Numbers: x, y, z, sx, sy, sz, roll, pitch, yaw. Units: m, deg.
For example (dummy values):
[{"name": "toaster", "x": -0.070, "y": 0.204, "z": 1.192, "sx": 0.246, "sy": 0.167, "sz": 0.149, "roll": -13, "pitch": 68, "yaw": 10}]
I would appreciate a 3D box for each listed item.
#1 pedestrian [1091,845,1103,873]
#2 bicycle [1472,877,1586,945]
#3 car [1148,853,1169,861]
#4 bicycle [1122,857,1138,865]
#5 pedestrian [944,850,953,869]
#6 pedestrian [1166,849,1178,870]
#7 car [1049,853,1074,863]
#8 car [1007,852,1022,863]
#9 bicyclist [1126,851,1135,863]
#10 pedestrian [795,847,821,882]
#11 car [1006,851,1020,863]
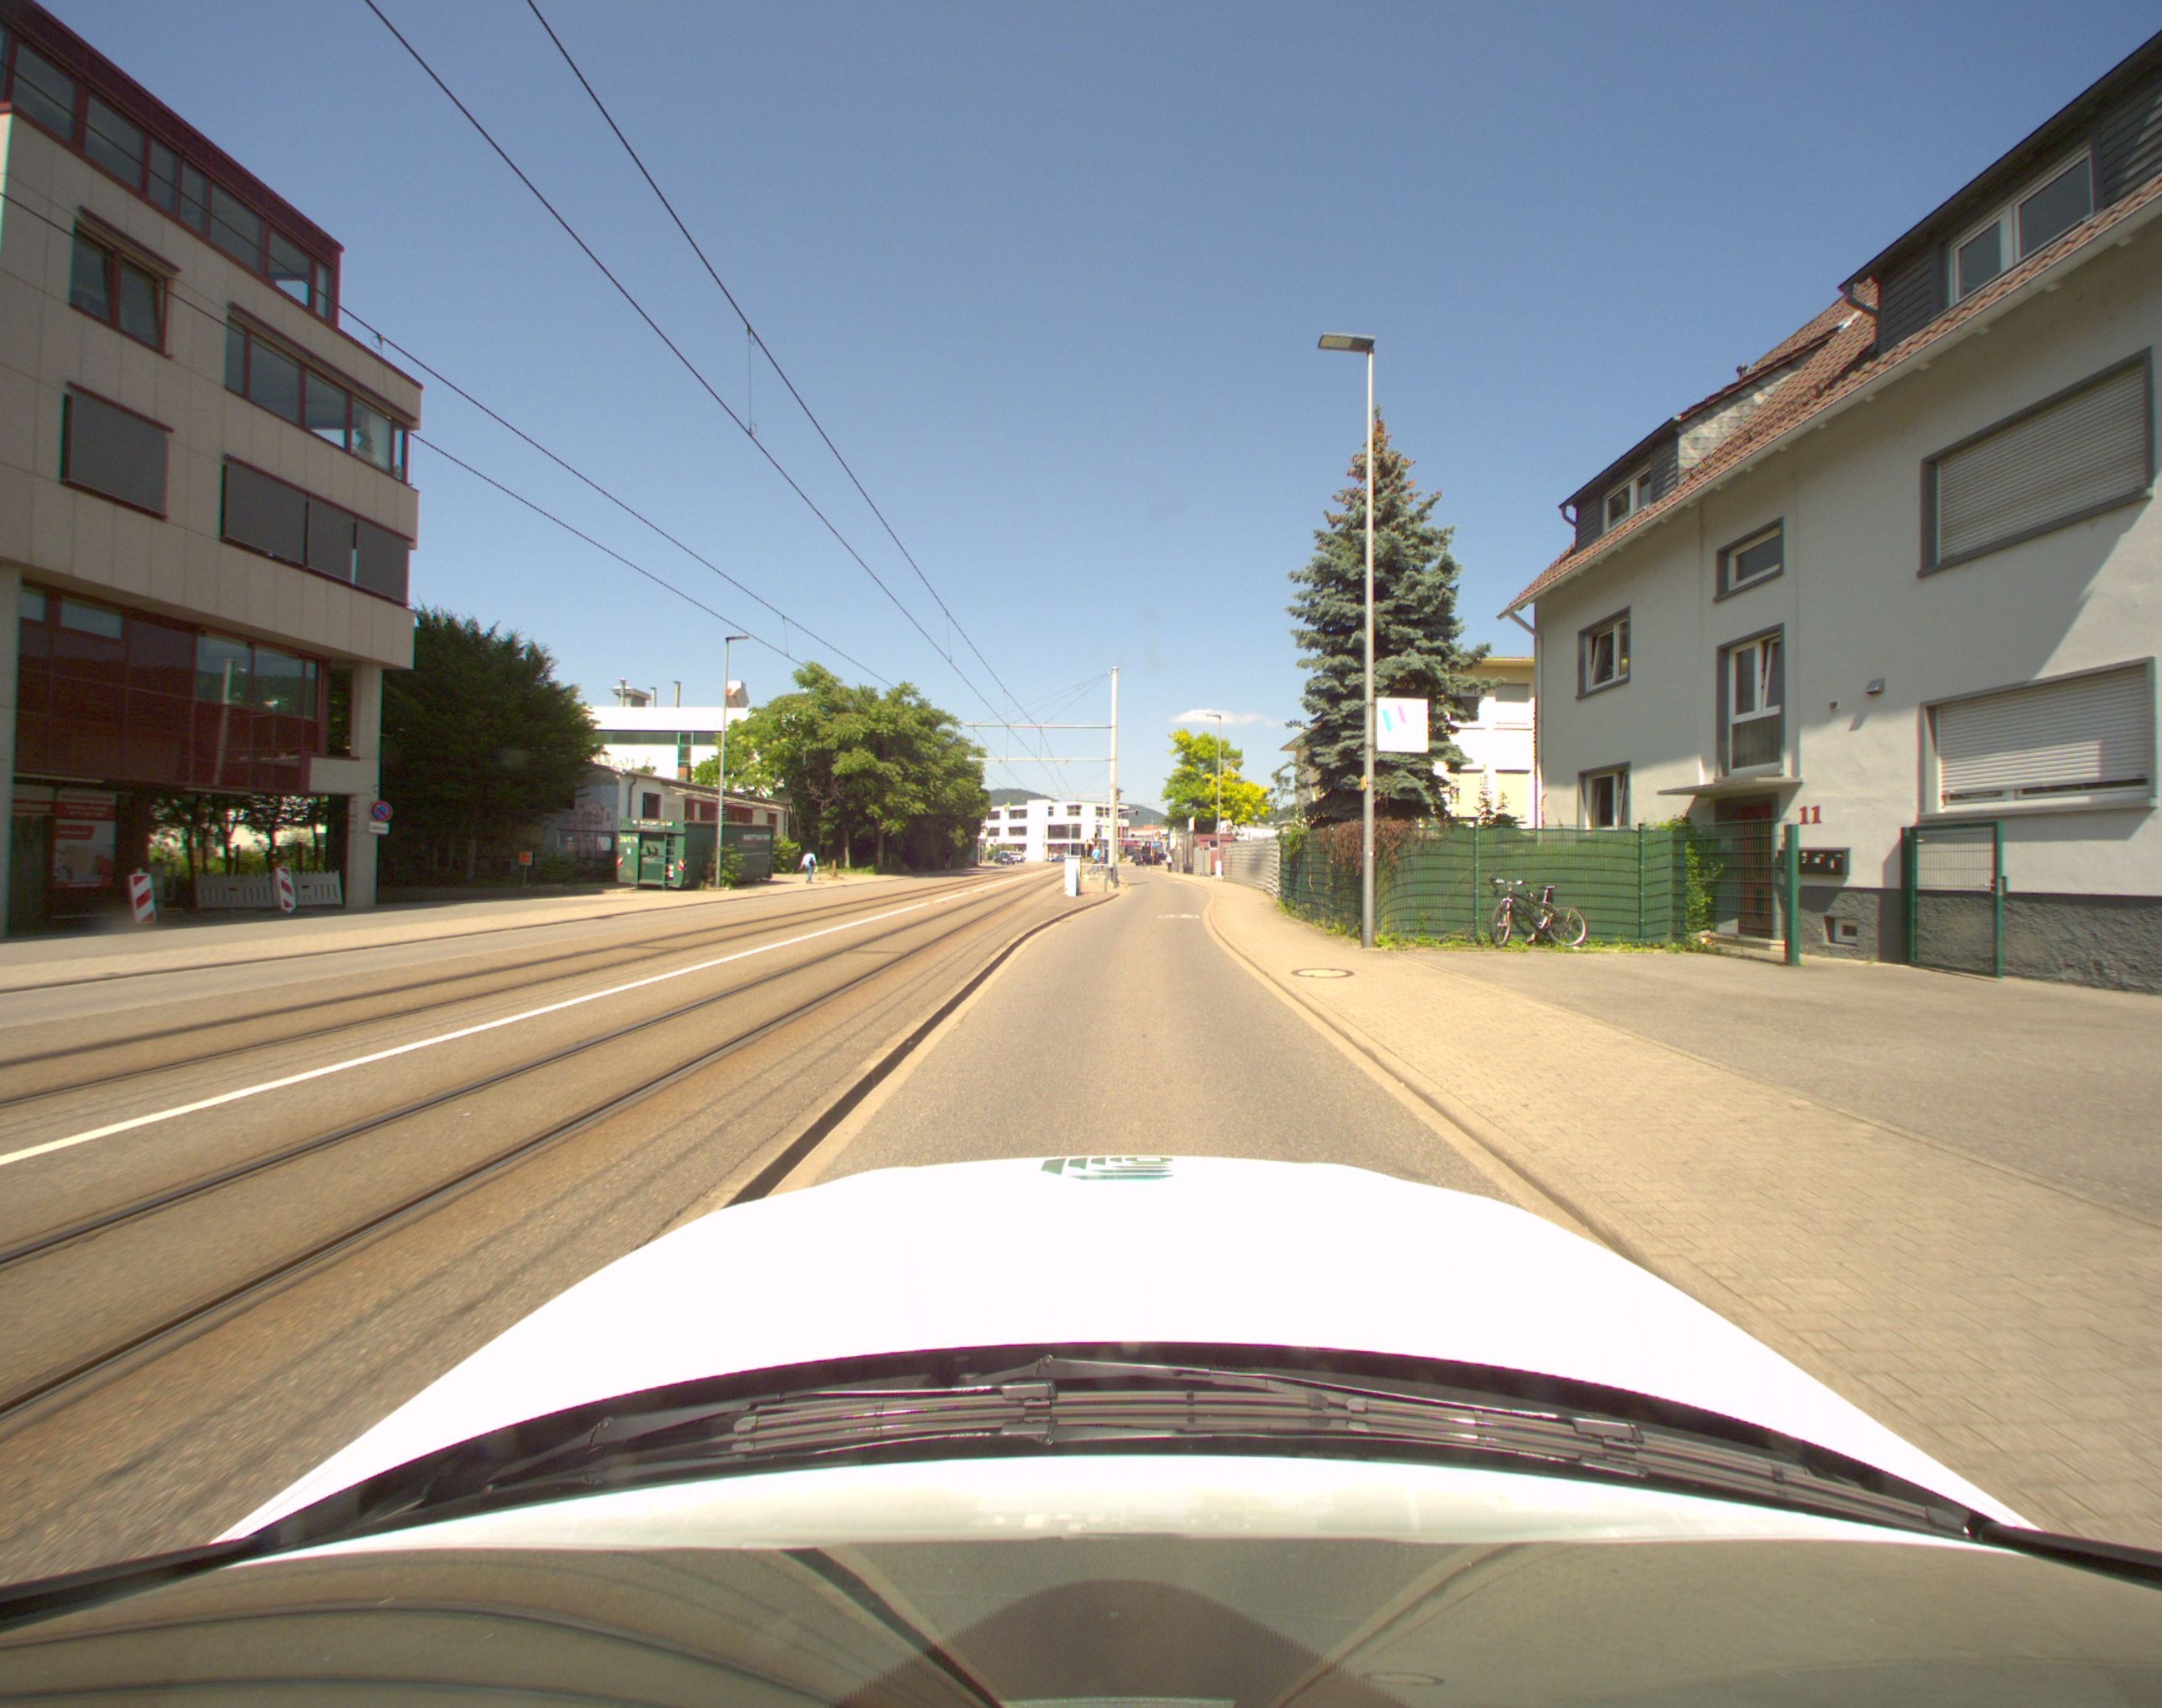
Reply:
[{"name": "pedestrian", "x": 0.996, "y": 0.293, "z": 51.109, "sx": 0.740, "sy": 1.740, "sz": 0.727, "roll": 0, "pitch": 0, "yaw": 1}, {"name": "bicycle", "x": 6.656, "y": 0.841, "z": 12.135, "sx": 1.466, "sy": 0.990, "sz": 0.388, "roll": 0, "pitch": -3, "yaw": 0}, {"name": "car", "x": 14.877, "y": 0.560, "z": 156.572, "sx": 4.022, "sy": 1.662, "sz": 1.843, "roll": 0, "pitch": 0, "yaw": -43}, {"name": "bicycle", "x": 8.275, "y": 1.160, "z": 136.753, "sx": 2.443, "sy": 1.186, "sz": 1.114, "roll": 2, "pitch": 3, "yaw": -8}, {"name": "pedestrian", "x": -10.641, "y": 0.411, "z": 65.246, "sx": 0.581, "sy": 1.537, "sz": 0.657, "roll": 0, "pitch": 0, "yaw": 1}, {"name": "pedestrian", "x": 8.113, "y": 0.472, "z": 72.720, "sx": 0.936, "sy": 1.787, "sz": 0.953, "roll": 1, "pitch": 1, "yaw": 1}, {"name": "car", "x": -3.215, "y": 0.691, "z": 134.668, "sx": 3.894, "sy": 1.680, "sz": 1.725, "roll": 0, "pitch": 0, "yaw": -10}, {"name": "car", "x": -10.121, "y": 0.534, "z": 124.032, "sx": 1.748, "sy": 1.647, "sz": 3.766, "roll": 0, "pitch": 0, "yaw": 4}, {"name": "bicyclist", "x": 8.333, "y": 0.503, "z": 136.731, "sx": 1.291, "sy": 1.904, "sz": 1.088, "roll": 2, "pitch": 3, "yaw": -7}, {"name": "pedestrian", "x": -12.141, "y": 0.472, "z": 36.257, "sx": 0.831, "sy": 1.537, "sz": 0.838, "roll": 0, "pitch": 0, "yaw": 1}, {"name": "car", "x": -9.138, "y": 0.369, "z": 109.488, "sx": 1.784, "sy": 1.552, "sz": 3.992, "roll": 0, "pitch": 0, "yaw": -6}]
